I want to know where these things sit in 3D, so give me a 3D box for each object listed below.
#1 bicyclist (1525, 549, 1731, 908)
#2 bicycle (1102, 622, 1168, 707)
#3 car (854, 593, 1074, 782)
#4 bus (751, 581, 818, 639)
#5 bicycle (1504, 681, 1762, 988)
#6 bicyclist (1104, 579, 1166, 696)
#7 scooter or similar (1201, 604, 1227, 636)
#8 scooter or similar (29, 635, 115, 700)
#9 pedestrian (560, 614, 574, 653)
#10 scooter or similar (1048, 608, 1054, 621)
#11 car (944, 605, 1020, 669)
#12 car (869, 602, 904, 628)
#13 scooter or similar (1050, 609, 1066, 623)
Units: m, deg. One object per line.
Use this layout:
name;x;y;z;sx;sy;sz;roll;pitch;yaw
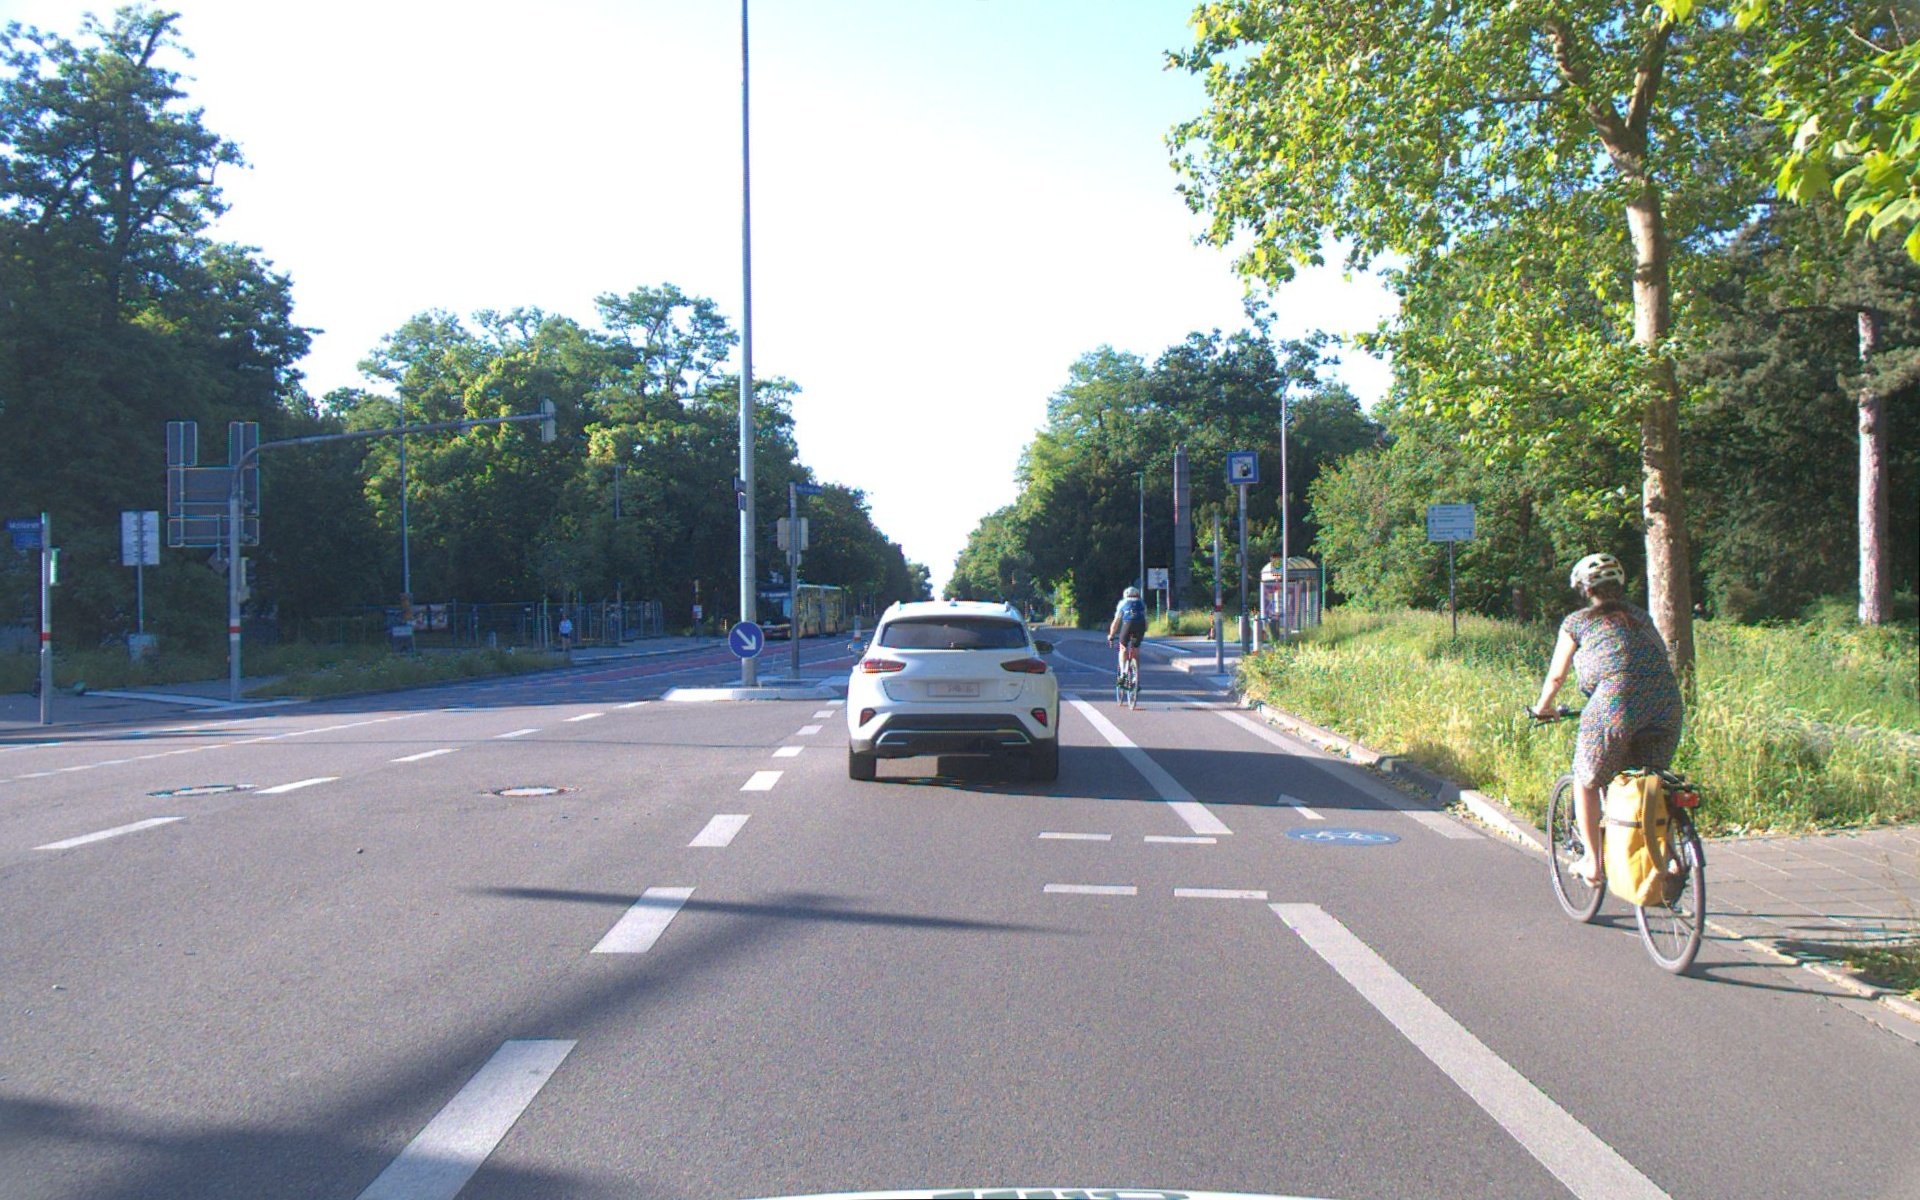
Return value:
bicyclist;2.984;0.553;7.459;0.678;1.516;0.801;-1;-1;11
bicycle;2.447;0.875;23.239;0.872;1.114;2.137;0;0;5
car;-0.084;0.712;15.050;1.726;1.485;3.814;1;-1;-4
bus;-10.469;0.613;99.419;2.781;3.253;8.601;-1;0;2
bicycle;3.037;0.992;7.680;0.678;1.114;2.138;-1;0;11
bicyclist;2.434;0.515;23.090;0.841;1.594;0.881;0;0;5
scooter or similar;10.580;0.840;68.890;0.707;1.269;1.327;-3;-2;23
scooter or similar;-19.074;1.434;35.553;0.680;1.316;1.493;-2;-1;29
pedestrian;-15.995;1.359;67.313;0.442;1.560;0.571;-1;-1;-4
scooter or similar;9.351;1.505;170.610;0.522;1.272;1.541;-1;0;0
car;0.578;0.866;40.102;1.641;1.442;3.575;-1;0;3
car;-4.362;0.896;98.788;1.675;1.446;4.555;-1;0;2
scooter or similar;9.051;1.457;152.757;1.529;1.272;0.526;-1;-1;-44
